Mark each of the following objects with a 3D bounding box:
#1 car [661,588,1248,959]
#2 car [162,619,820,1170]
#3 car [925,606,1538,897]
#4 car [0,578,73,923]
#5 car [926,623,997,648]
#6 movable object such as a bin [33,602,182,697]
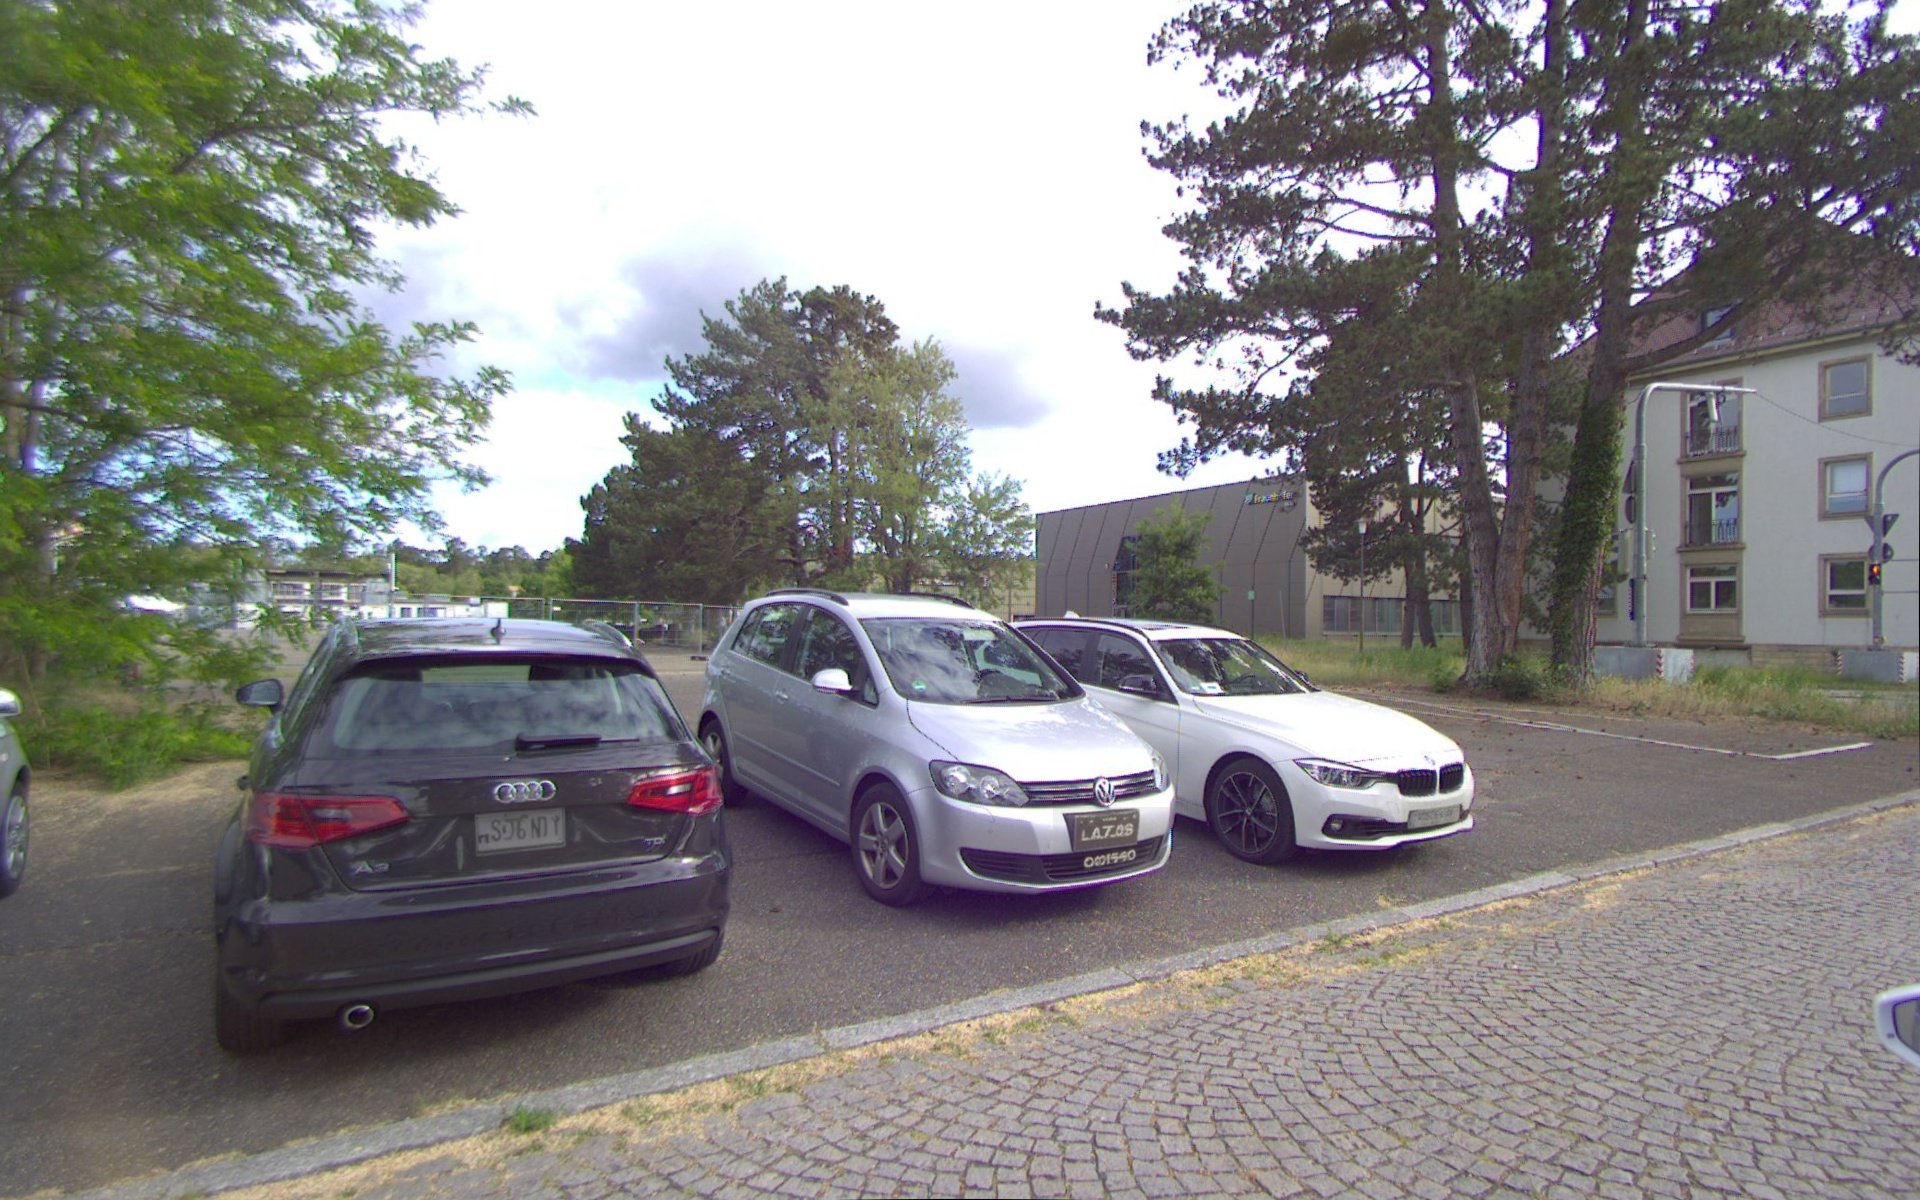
[{"bbox_3d":[-0.432,0.766,6.805,1.828,1.611,4.445,1,0,-34],"label":"car"},{"bbox_3d":[-2.522,0.831,5.098,1.864,1.441,4.594,1,-2,-32],"label":"car"},{"bbox_3d":[1.739,0.881,8.153,1.892,1.459,4.778,1,1,-32],"label":"car"},{"bbox_3d":[-4.653,0.692,3.567,1.663,1.475,3.950,2,2,-33],"label":"car"},{"bbox_3d":[0.118,2.332,67.422,4.485,1.552,1.981,0,-1,-34],"label":"car"},{"bbox_3d":[-12.078,0.674,14.356,1.157,1.228,2.519,2,-1,-30],"label":"movable object such as a bin"}]
